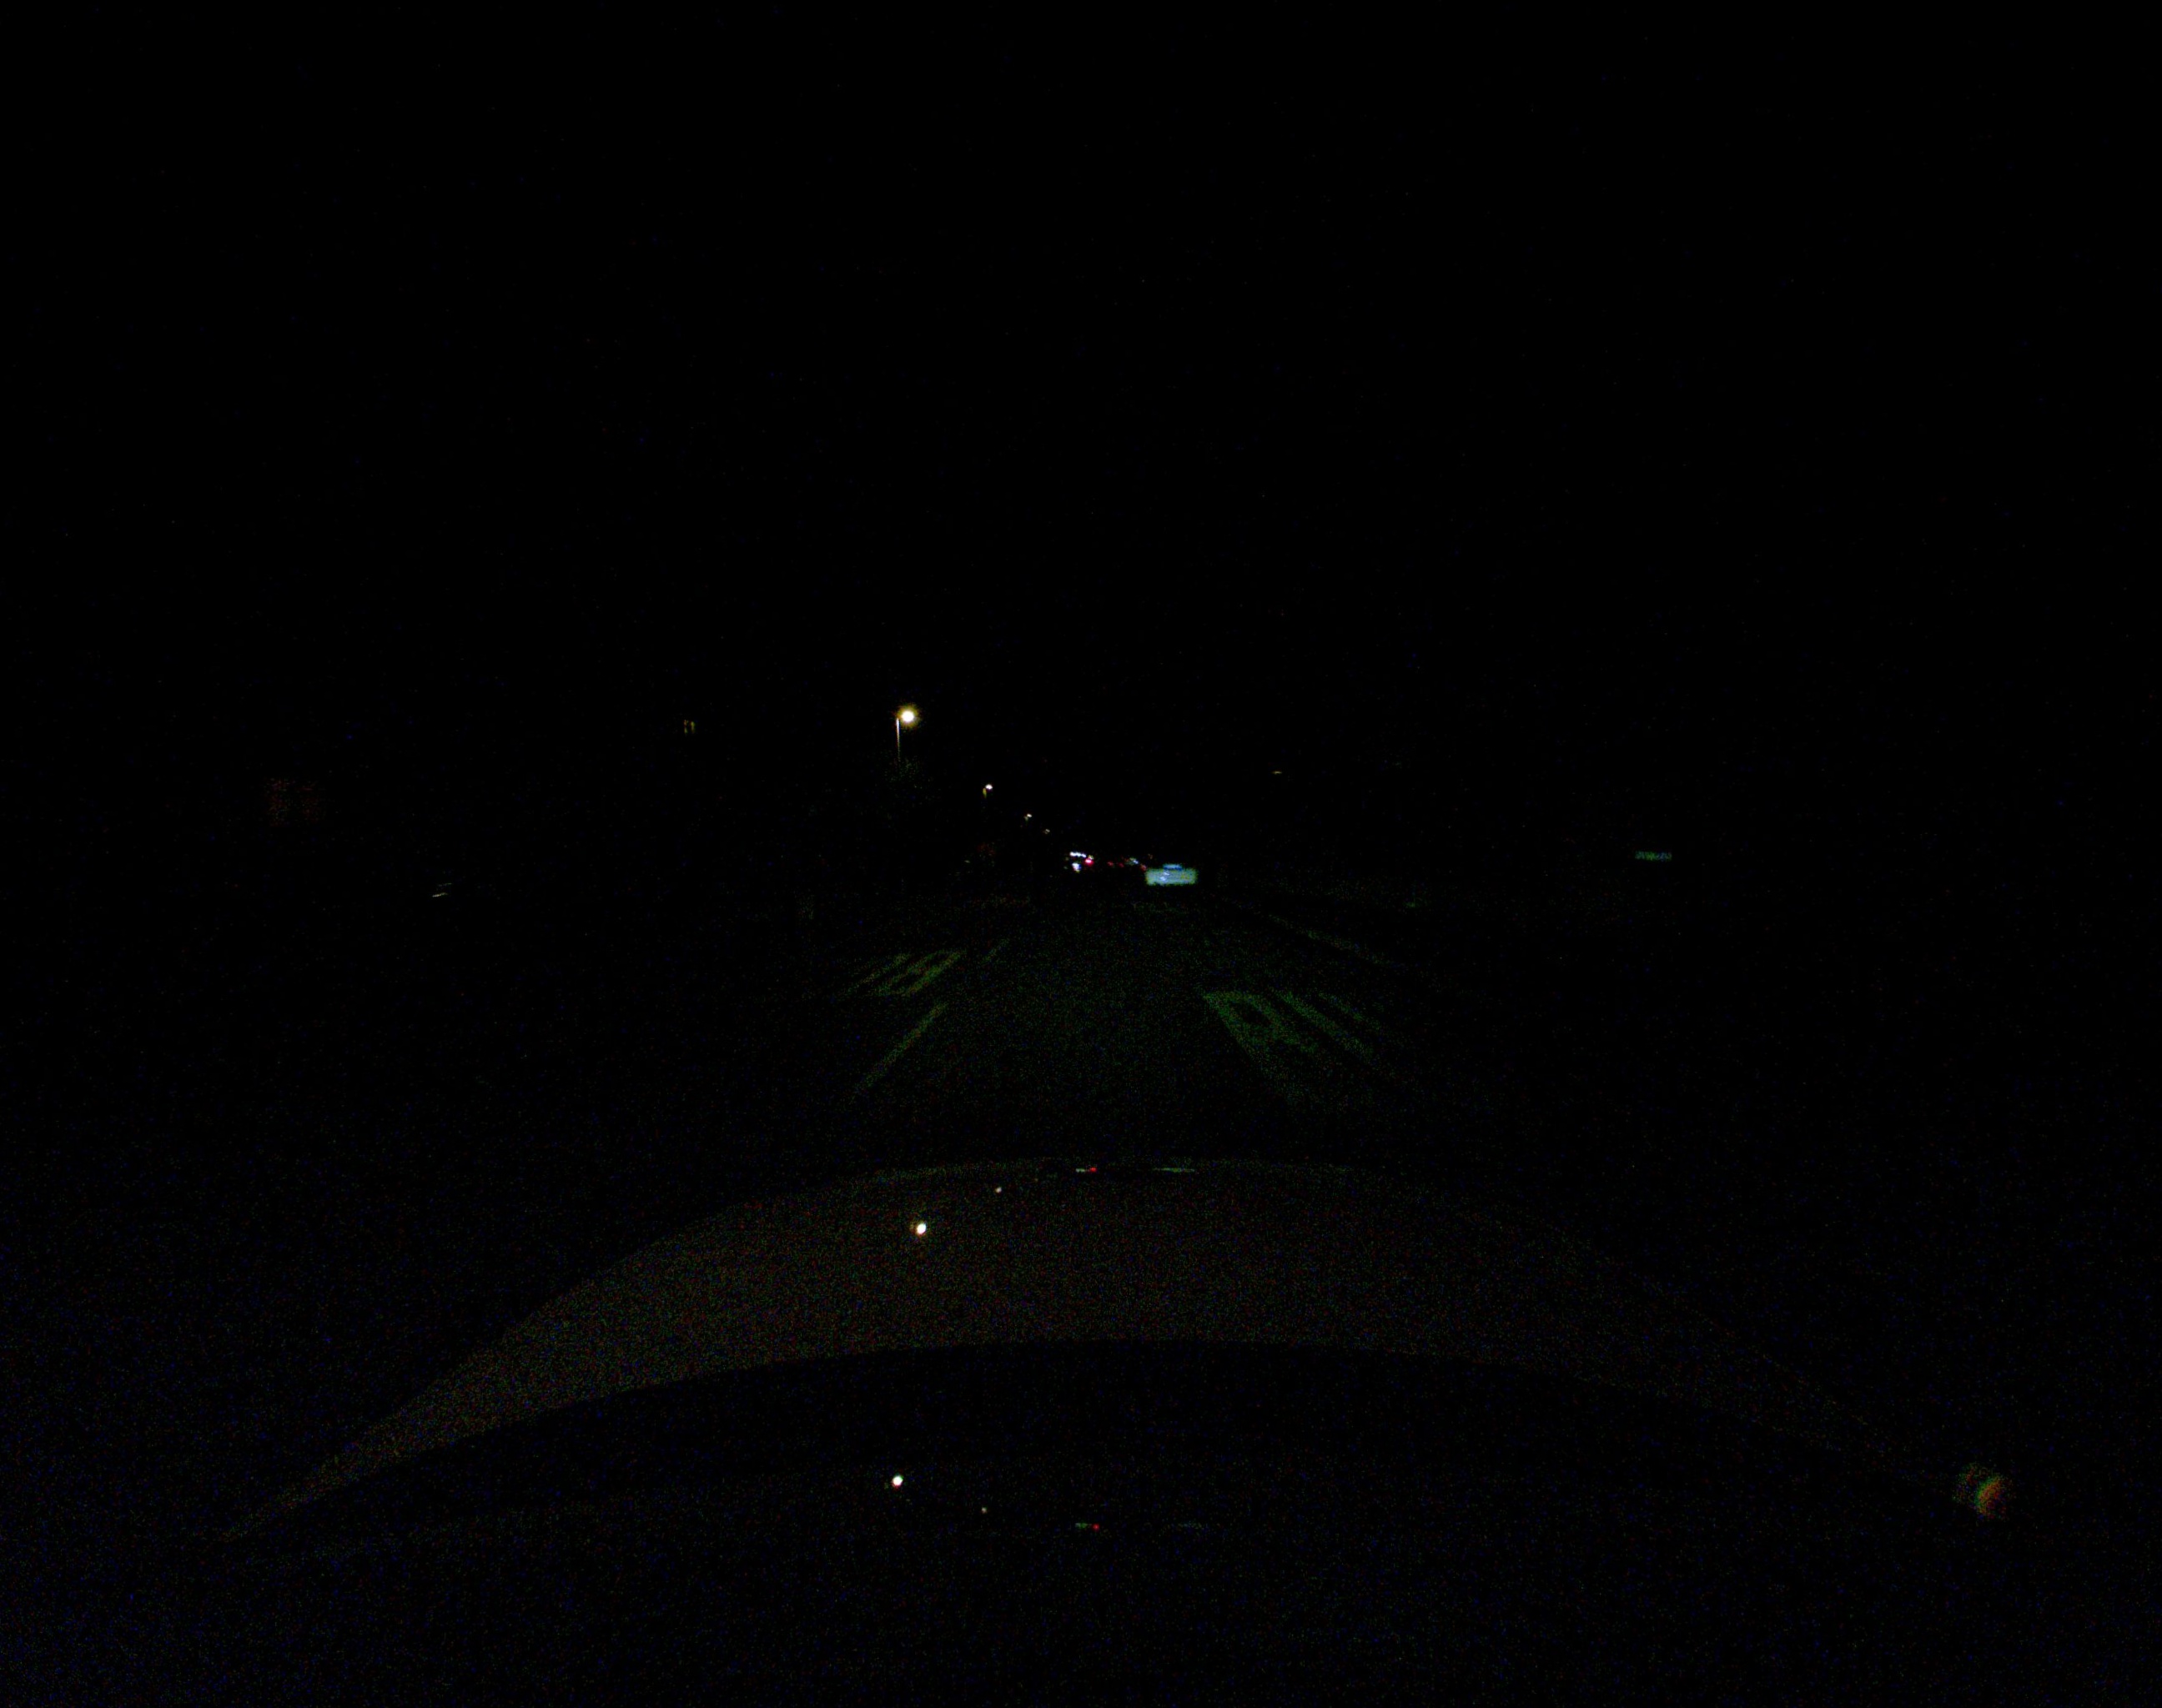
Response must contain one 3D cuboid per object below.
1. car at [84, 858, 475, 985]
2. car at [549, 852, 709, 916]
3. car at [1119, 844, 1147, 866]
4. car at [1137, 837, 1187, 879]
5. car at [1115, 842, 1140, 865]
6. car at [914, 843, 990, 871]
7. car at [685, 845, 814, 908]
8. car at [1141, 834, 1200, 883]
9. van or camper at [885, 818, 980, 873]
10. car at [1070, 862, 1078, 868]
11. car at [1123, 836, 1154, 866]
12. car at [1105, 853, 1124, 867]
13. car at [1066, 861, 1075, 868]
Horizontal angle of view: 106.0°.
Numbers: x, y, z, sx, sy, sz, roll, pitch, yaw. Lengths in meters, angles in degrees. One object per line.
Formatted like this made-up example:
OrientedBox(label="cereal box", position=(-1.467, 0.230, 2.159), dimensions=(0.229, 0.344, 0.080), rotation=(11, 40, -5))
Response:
OrientedBox(label="car", position=(-11.864, 0.881, 12.544), dimensions=(1.719, 1.459, 4.126), rotation=(-2, 1, 3))
OrientedBox(label="car", position=(-11.546, 0.702, 21.162), dimensions=(1.842, 1.427, 4.001), rotation=(-1, 1, 1))
OrientedBox(label="car", position=(3.542, 0.051, 56.170), dimensions=(1.738, 1.471, 4.256), rotation=(0, 0, 0))
OrientedBox(label="car", position=(3.269, 0.109, 33.403), dimensions=(1.603, 1.461, 3.717), rotation=(-4, 2, 1))
OrientedBox(label="car", position=(3.527, -0.003, 61.796), dimensions=(1.824, 1.664, 4.622), rotation=(-1, -1, 3))
OrientedBox(label="car", position=(-8.145, 0.213, 51.877), dimensions=(4.400, 1.613, 2.066), rotation=(-2, -1, 1))
OrientedBox(label="car", position=(-8.550, 0.519, 21.430), dimensions=(1.971, 1.439, 3.994), rotation=(-1, 1, -4))
OrientedBox(label="car", position=(3.087, 0.116, 28.895), dimensions=(1.748, 1.593, 4.731), rotation=(-1, 1, 2))
OrientedBox(label="van or camper", position=(-8.707, -0.485, 48.126), dimensions=(5.397, 3.111, 2.125), rotation=(-1, -3, -9))
OrientedBox(label="car", position=(-1.742, 2.688, 198.352), dimensions=(1.748, 1.539, 3.729), rotation=(-2, -1, 0))
OrientedBox(label="car", position=(3.534, -0.202, 50.678), dimensions=(1.712, 1.761, 4.760), rotation=(-1, 0, 2))
OrientedBox(label="car", position=(3.680, 0.714, 91.237), dimensions=(1.759, 1.476, 4.271), rotation=(0, -1, -3))
OrientedBox(label="car", position=(-2.378, 2.350, 181.236), dimensions=(1.749, 1.539, 3.727), rotation=(-2, -1, -3))
